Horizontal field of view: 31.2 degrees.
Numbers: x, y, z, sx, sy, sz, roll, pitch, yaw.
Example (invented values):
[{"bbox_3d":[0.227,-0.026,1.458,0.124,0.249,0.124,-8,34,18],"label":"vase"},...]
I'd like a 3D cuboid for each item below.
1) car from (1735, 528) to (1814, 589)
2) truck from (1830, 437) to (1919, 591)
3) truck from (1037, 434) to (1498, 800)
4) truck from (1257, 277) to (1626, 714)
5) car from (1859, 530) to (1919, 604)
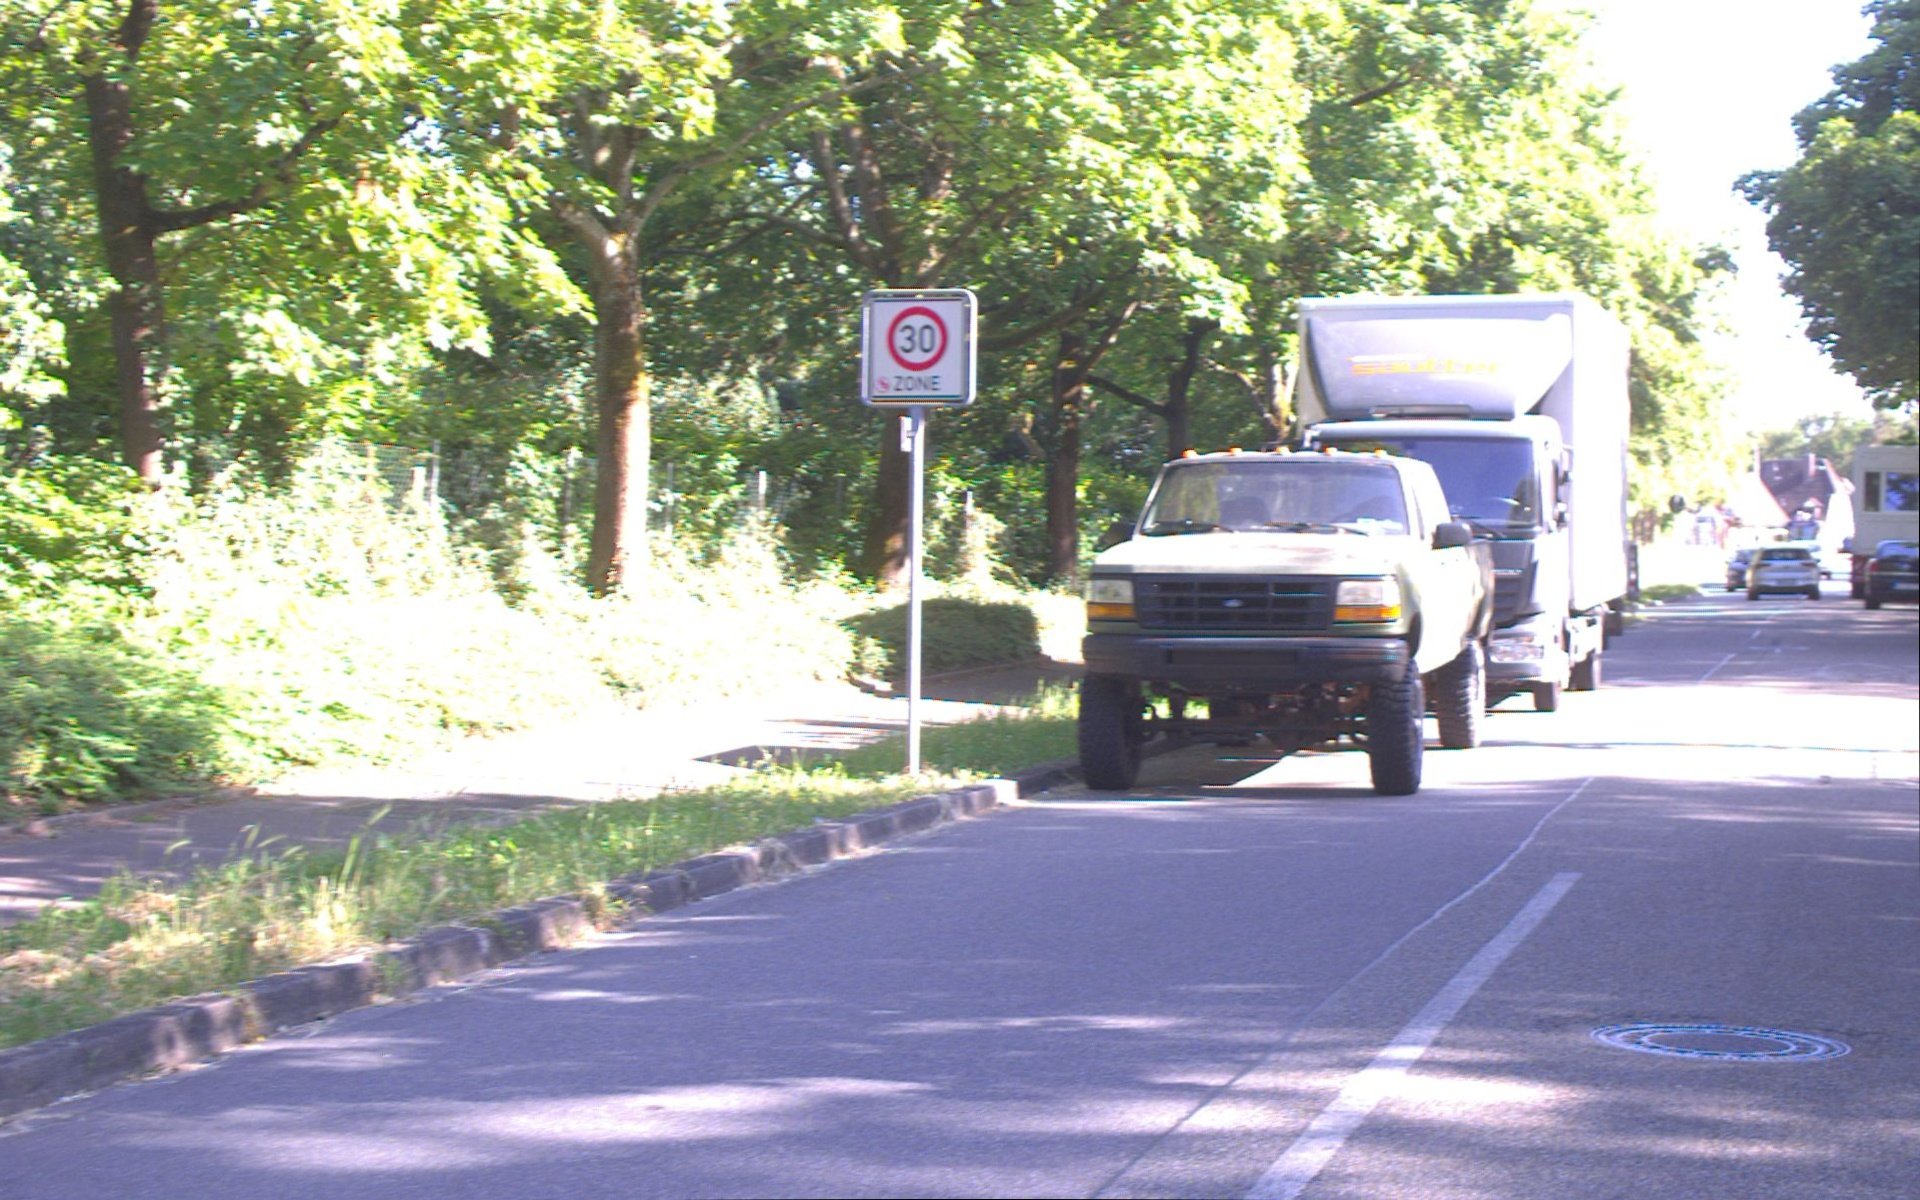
[{"bbox_3d":[20.935,-1.070,88.270,1.795,1.505,3.997,1,1,15],"label":"car"},{"bbox_3d":[25.242,-2.322,93.289,2.890,3.931,9.993,1,1,15],"label":"truck"},{"bbox_3d":[2.261,0.029,23.069,2.114,2.087,6.644,0,1,14],"label":"truck"},{"bbox_3d":[4.749,-0.938,32.581,2.616,3.615,7.952,0,1,14],"label":"truck"},{"bbox_3d":[19.759,-0.703,71.877,1.795,1.505,3.997,1,1,15],"label":"car"}]
